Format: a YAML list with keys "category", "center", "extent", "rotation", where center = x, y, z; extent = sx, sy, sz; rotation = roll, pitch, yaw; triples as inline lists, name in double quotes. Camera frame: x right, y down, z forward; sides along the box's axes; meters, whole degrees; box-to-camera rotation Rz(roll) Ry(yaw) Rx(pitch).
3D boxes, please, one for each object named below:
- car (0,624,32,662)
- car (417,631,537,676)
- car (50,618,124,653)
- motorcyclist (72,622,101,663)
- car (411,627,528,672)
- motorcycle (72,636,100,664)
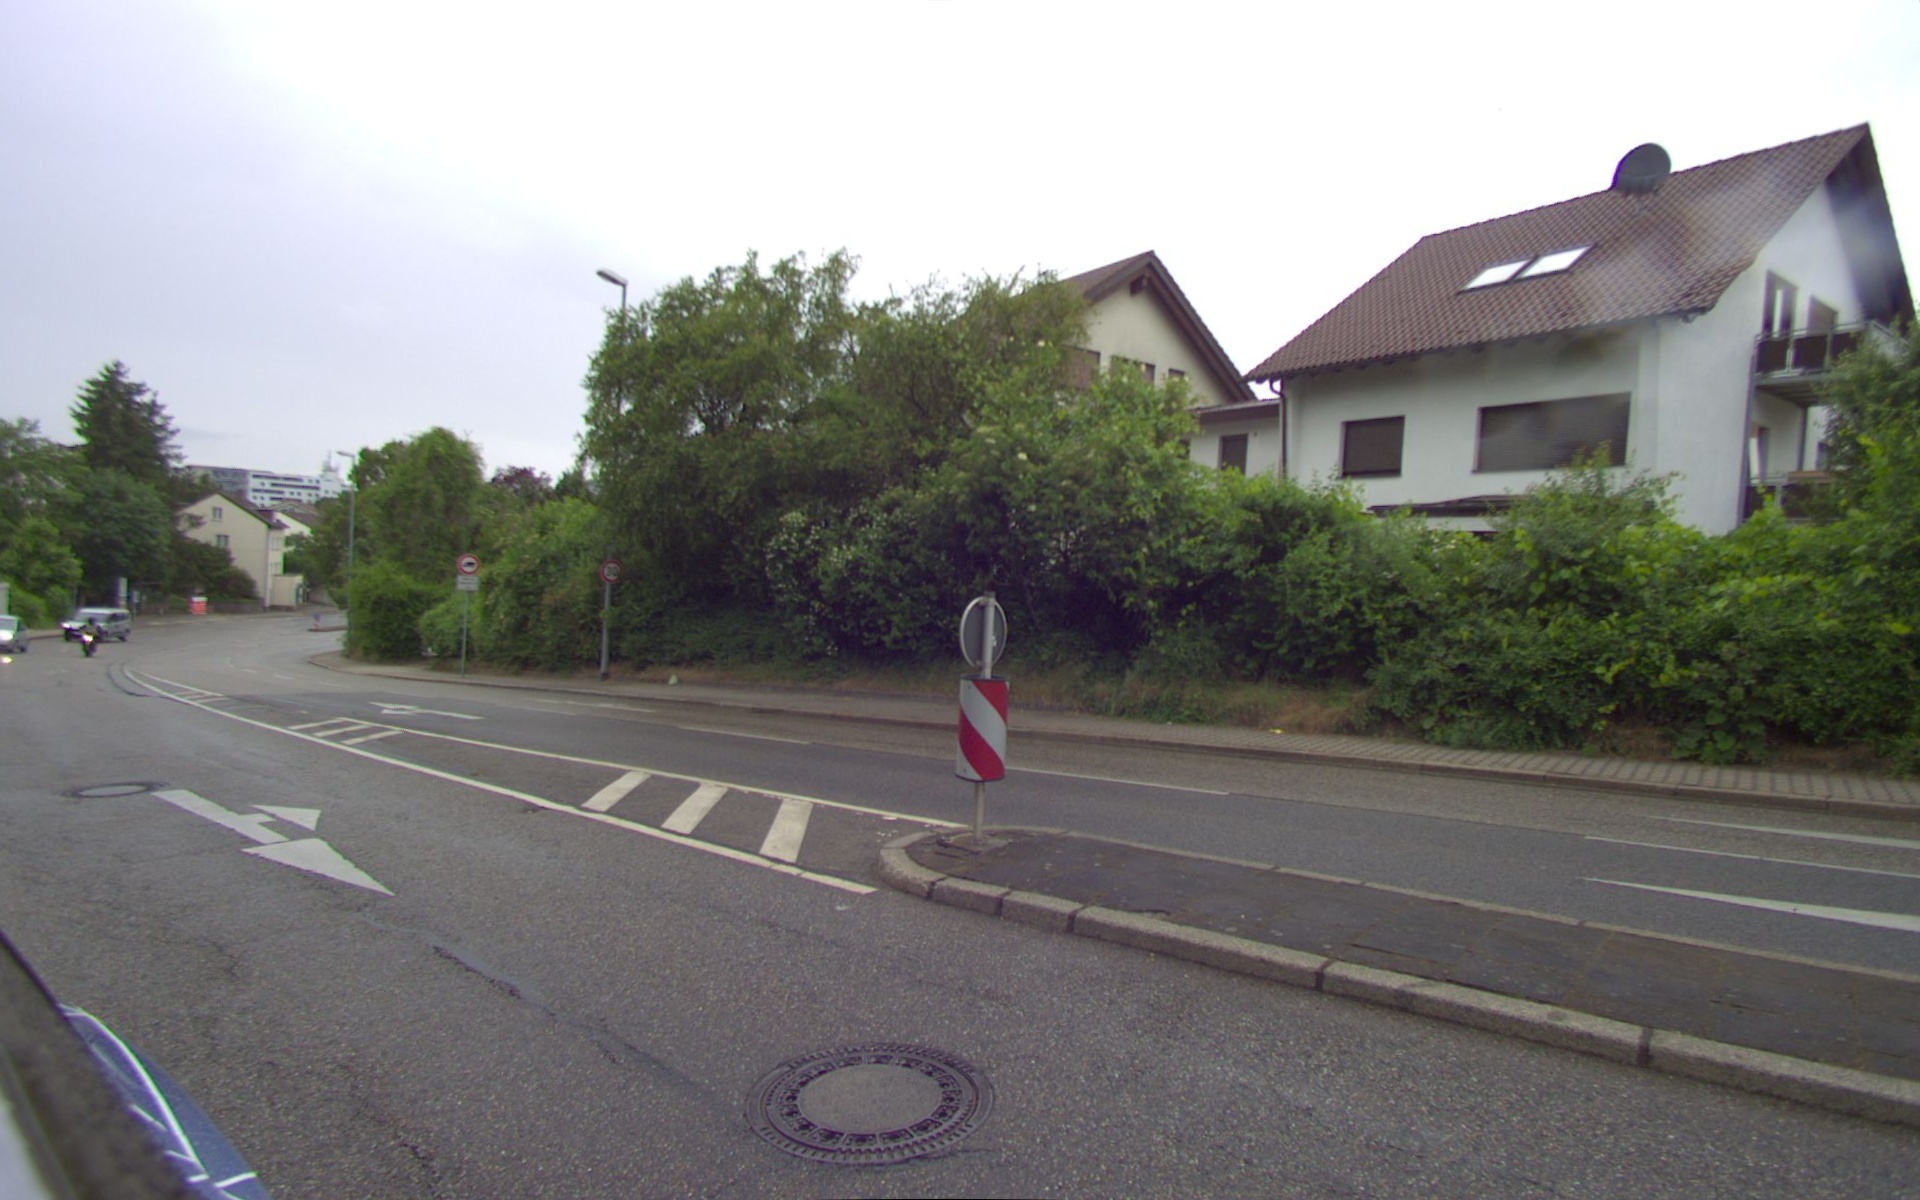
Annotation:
- category: "car"
  center: [-39.916, 1.705, 41.676]
  extent: [1.789, 1.449, 4.010]
  rotation: [6, -4, -34]
- category: "car"
  center: [-18.772, 2.042, 39.424]
  extent: [3.853, 1.451, 1.814]
  rotation: [-3, 1, -41]
- category: "car"
  center: [-48.639, 1.992, 56.493]
  extent: [1.748, 1.788, 4.013]
  rotation: [5, -4, -21]
- category: "motorcyclist"
  center: [-36.560, 1.779, 42.370]
  extent: [0.755, 1.655, 0.676]
  rotation: [5, -4, -38]
- category: "car"
  center: [-20.264, 2.006, 41.865]
  extent: [3.939, 1.548, 2.003]
  rotation: [-3, 1, -42]
- category: "motorcycle"
  center: [-36.521, 2.069, 42.298]
  extent: [0.682, 1.061, 1.751]
  rotation: [5, -3, -37]
